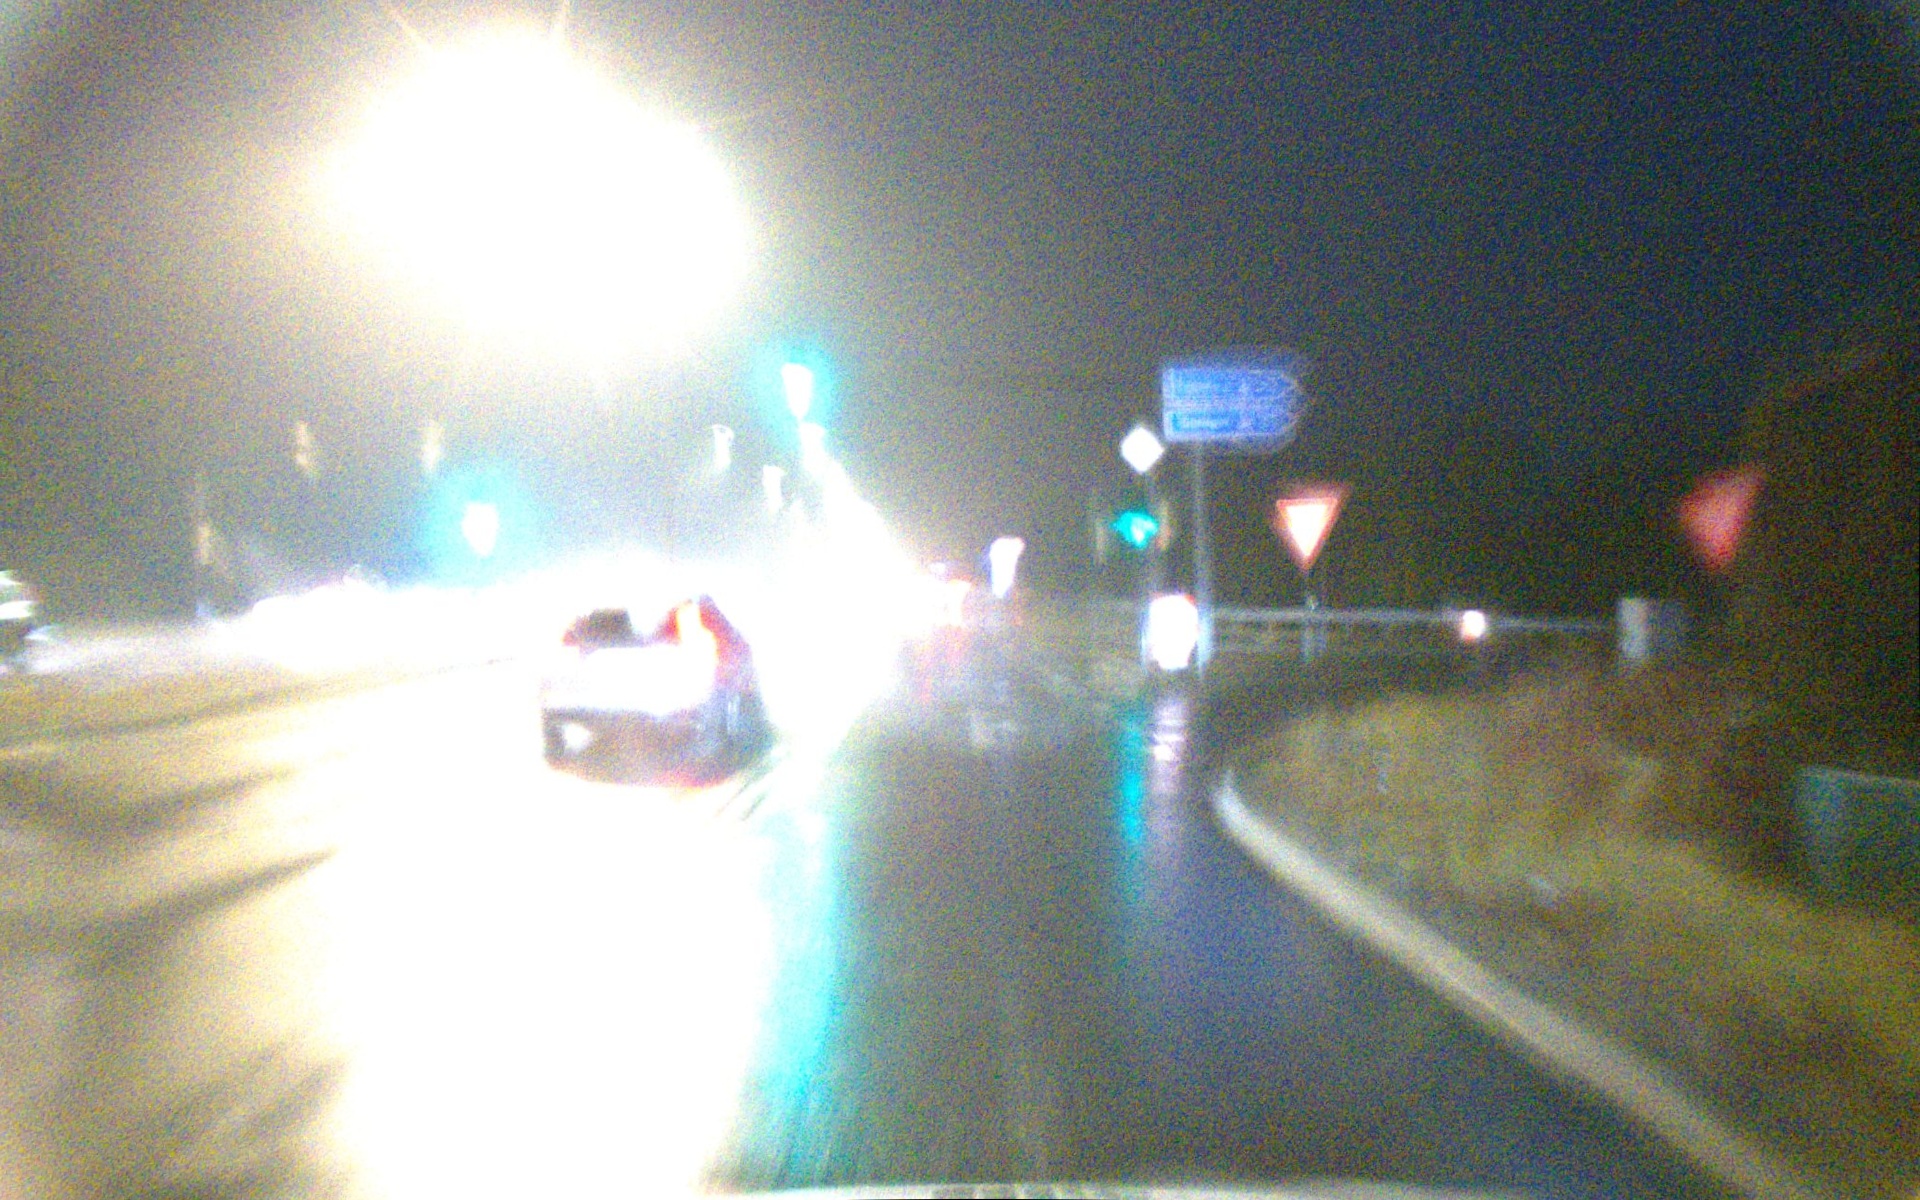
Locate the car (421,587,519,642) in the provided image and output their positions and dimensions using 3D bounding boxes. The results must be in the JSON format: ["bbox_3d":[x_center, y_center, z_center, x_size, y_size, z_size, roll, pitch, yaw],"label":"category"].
[{"bbox_3d":[-15.480,0.437,52.447,1.745,1.636,4.244,-1,0,1],"label":"car"}]

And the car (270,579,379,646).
[{"bbox_3d":[-19.082,0.341,49.844,1.726,1.925,4.205,0,0,-1],"label":"car"}]

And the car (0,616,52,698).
[{"bbox_3d":[-15.339,0.880,24.757,1.610,1.224,3.613,0,0,-2],"label":"car"}]

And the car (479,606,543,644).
[{"bbox_3d":[-19.872,1.134,73.350,1.811,1.482,4.093,2,-3,-2],"label":"car"}]

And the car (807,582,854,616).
[{"bbox_3d":[-7.601,-0.041,97.383,2.133,1.629,4.000,4,-2,3],"label":"car"}]

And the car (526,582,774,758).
[{"bbox_3d":[-2.981,0.596,16.744,1.760,1.477,4.268,1,1,-1],"label":"car"}]

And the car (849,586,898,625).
[{"bbox_3d":[-4.253,0.279,82.190,2.133,1.629,3.999,4,-2,0],"label":"car"}]

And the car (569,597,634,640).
[{"bbox_3d":[-12.589,0.636,58.253,1.557,1.452,3.350,0,1,0],"label":"car"}]

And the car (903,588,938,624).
[{"bbox_3d":[-2.389,0.402,101.340,1.953,1.871,3.998,5,-3,0],"label":"car"}]

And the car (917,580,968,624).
[{"bbox_3d":[-0.729,0.121,71.335,1.870,1.629,4.000,4,-2,3],"label":"car"}]
